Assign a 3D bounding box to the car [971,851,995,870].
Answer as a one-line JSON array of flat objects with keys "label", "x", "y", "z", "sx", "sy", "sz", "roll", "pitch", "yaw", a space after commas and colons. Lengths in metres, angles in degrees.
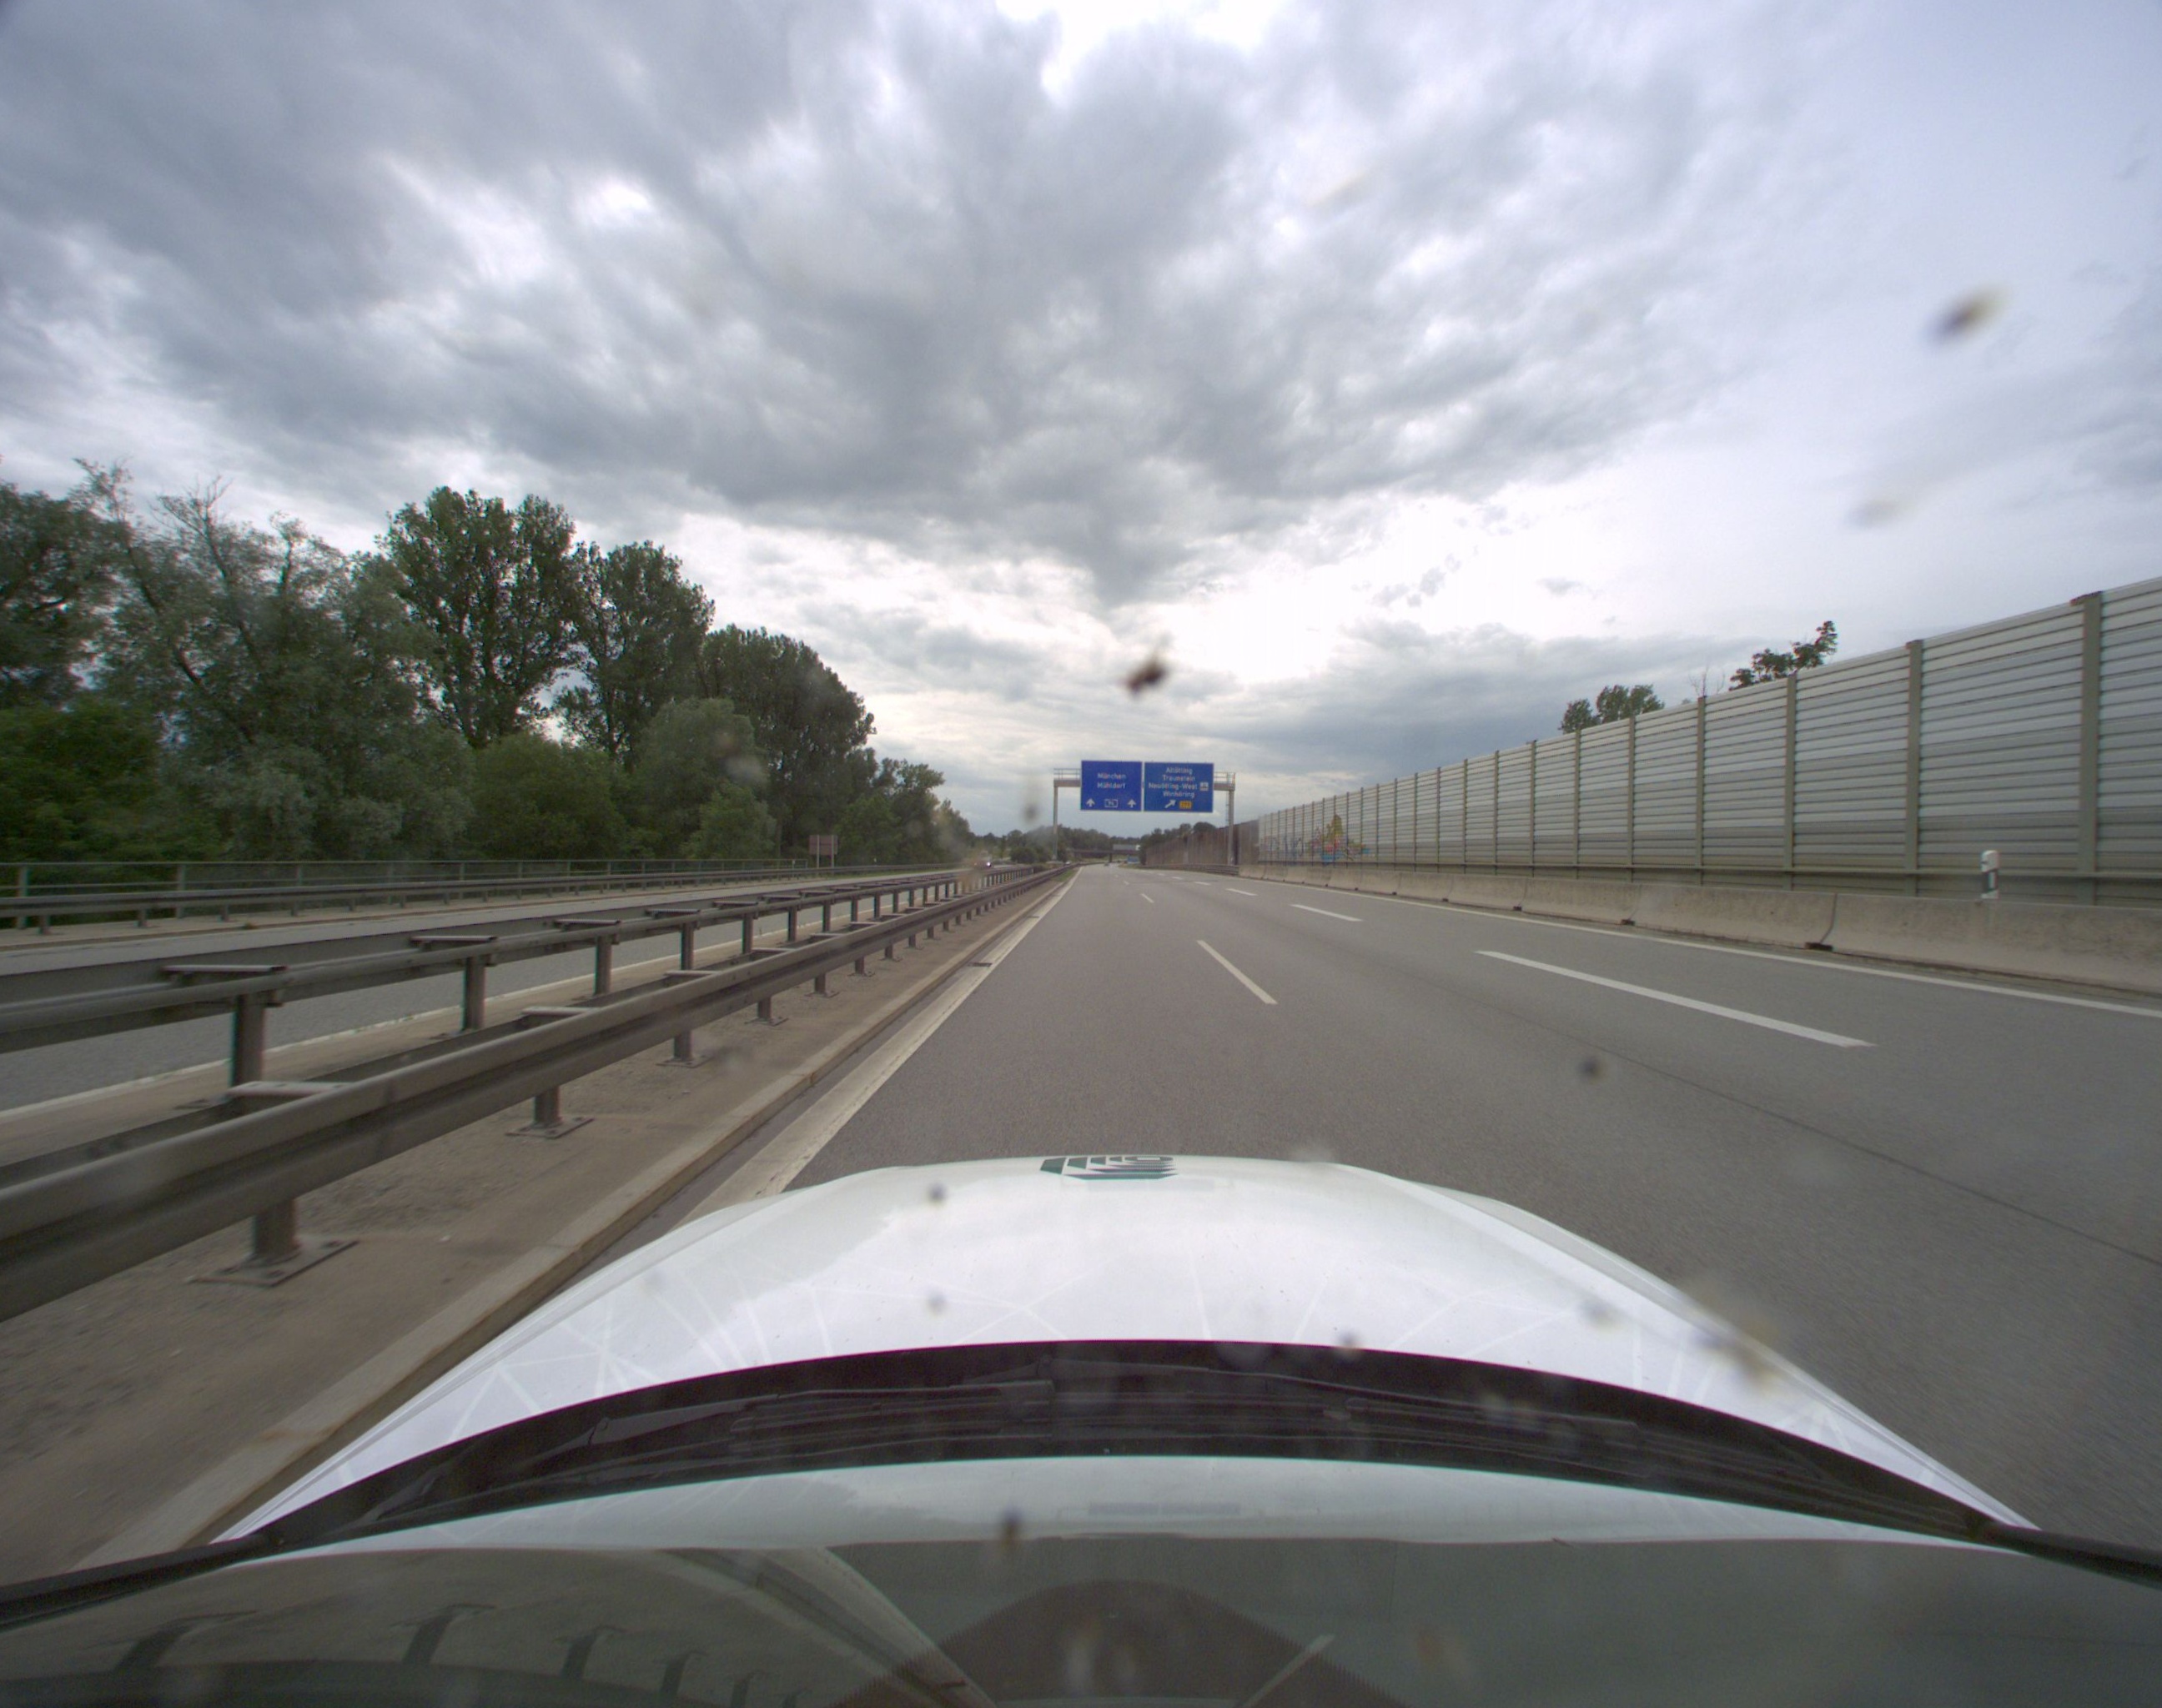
[{"label": "car", "x": -10.406, "y": 0.714, "z": 86.567, "sx": 1.987, "sy": 2.002, "sz": 4.742, "roll": 0, "pitch": -1, "yaw": 0}]
